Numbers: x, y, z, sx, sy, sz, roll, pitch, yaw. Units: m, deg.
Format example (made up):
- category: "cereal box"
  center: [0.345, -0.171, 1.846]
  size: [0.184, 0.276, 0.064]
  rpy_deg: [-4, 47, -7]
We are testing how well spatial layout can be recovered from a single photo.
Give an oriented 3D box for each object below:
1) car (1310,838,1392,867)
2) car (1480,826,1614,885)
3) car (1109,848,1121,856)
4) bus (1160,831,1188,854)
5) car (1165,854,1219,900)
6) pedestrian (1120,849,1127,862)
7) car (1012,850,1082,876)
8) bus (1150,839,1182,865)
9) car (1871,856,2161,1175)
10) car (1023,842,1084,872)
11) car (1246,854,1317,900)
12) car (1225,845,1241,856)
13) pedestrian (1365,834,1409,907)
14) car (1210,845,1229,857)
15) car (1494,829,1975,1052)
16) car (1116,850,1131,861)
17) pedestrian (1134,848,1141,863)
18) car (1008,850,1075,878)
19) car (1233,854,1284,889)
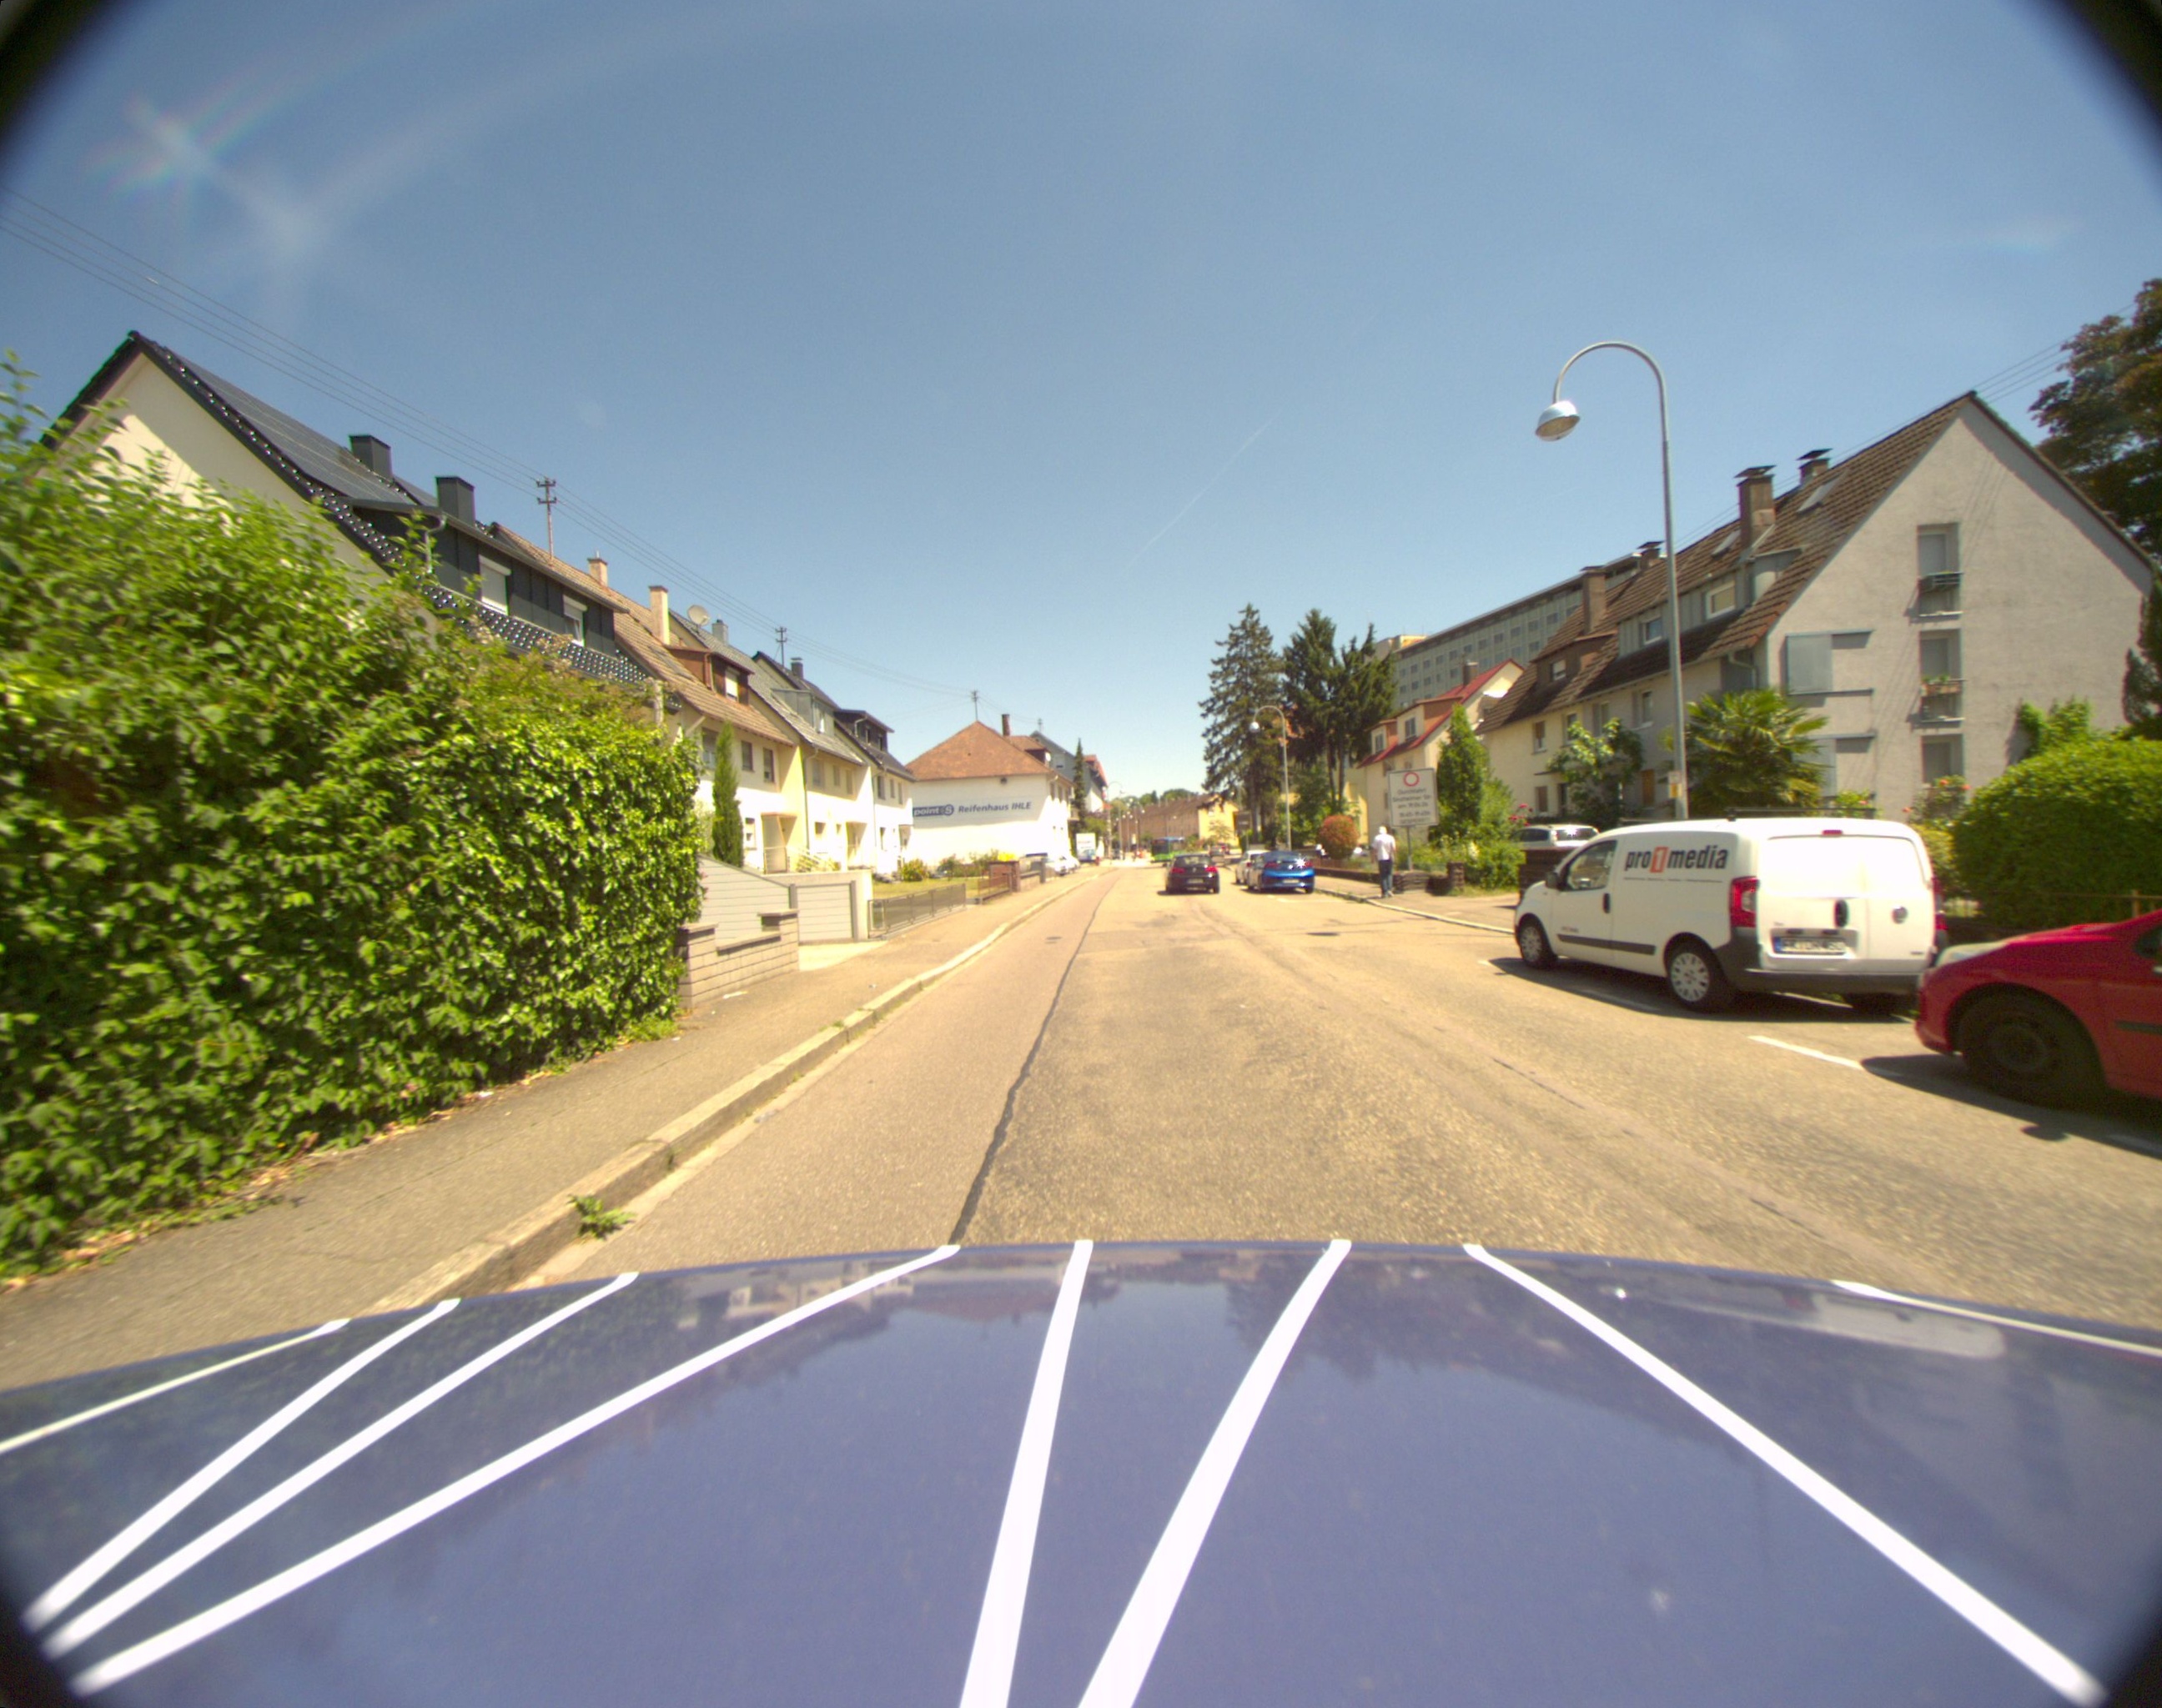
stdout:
- category: "car"
  center: [16.501, -0.113, 46.637]
  size: [4.476, 1.433, 1.848]
  rpy_deg: [-4, 1, 10]
- category: "car"
  center: [14.438, -0.042, 23.865]
  size: [1.773, 1.500, 4.361]
  rpy_deg: [-4, 3, 5]
- category: "car"
  center: [7.025, -0.373, 155.819]
  size: [1.827, 1.403, 3.996]
  rpy_deg: [-1, 2, -7]
- category: "bus"
  center: [13.929, -1.706, 112.666]
  size: [2.926, 3.044, 12.571]
  rpy_deg: [-3, 1, 12]
- category: "car"
  center: [3.902, 0.776, 27.220]
  size: [1.735, 1.409, 4.001]
  rpy_deg: [-1, 1, 6]
- category: "pedestrian"
  center: [5.419, 0.239, 96.247]
  size: [0.614, 1.607, 0.751]
  rpy_deg: [0, 2, 23]
- category: "car"
  center: [-2.430, 0.646, 54.565]
  size: [4.649, 1.400, 1.770]
  rpy_deg: [-6, 0, 8]
- category: "bus"
  center: [11.309, -0.308, 100.358]
  size: [2.908, 3.063, 12.571]
  rpy_deg: [-3, 1, 12]
- category: "car"
  center: [5.931, 0.769, 2.866]
  size: [1.765, 1.469, 4.058]
  rpy_deg: [-1, 0, 2]
- category: "car"
  center: [-2.055, 0.227, 57.093]
  size: [4.302, 1.820, 1.739]
  rpy_deg: [-6, 0, -2]
- category: "car"
  center: [6.987, 0.757, 26.874]
  size: [1.772, 1.430, 4.364]
  rpy_deg: [-1, 0, 6]
- category: "car"
  center: [22.019, -0.537, 110.125]
  size: [1.808, 1.480, 4.392]
  rpy_deg: [-1, 0, 17]
- category: "pedestrian"
  center: [8.319, 0.431, 20.699]
  size: [0.691, 1.879, 1.019]
  rpy_deg: [-7, 1, 8]
- category: "car"
  center: [17.942, -0.357, 98.473]
  size: [1.742, 1.496, 4.148]
  rpy_deg: [-1, 1, 20]
- category: "car"
  center: [6.116, 0.667, 7.844]
  size: [1.727, 1.726, 3.887]
  rpy_deg: [-1, 0, 2]
- category: "car"
  center: [5.987, 0.191, 106.984]
  size: [1.761, 1.505, 3.743]
  rpy_deg: [1, 1, 8]
- category: "pedestrian"
  center: [7.193, 0.201, 97.149]
  size: [0.750, 1.795, 0.615]
  rpy_deg: [0, 2, -8]
- category: "car"
  center: [-2.714, 0.669, 51.635]
  size: [4.293, 1.539, 1.759]
  rpy_deg: [-5, 2, 38]
- category: "car"
  center: [7.668, 0.718, 33.128]
  size: [1.582, 1.415, 3.942]
  rpy_deg: [-1, 0, 5]
